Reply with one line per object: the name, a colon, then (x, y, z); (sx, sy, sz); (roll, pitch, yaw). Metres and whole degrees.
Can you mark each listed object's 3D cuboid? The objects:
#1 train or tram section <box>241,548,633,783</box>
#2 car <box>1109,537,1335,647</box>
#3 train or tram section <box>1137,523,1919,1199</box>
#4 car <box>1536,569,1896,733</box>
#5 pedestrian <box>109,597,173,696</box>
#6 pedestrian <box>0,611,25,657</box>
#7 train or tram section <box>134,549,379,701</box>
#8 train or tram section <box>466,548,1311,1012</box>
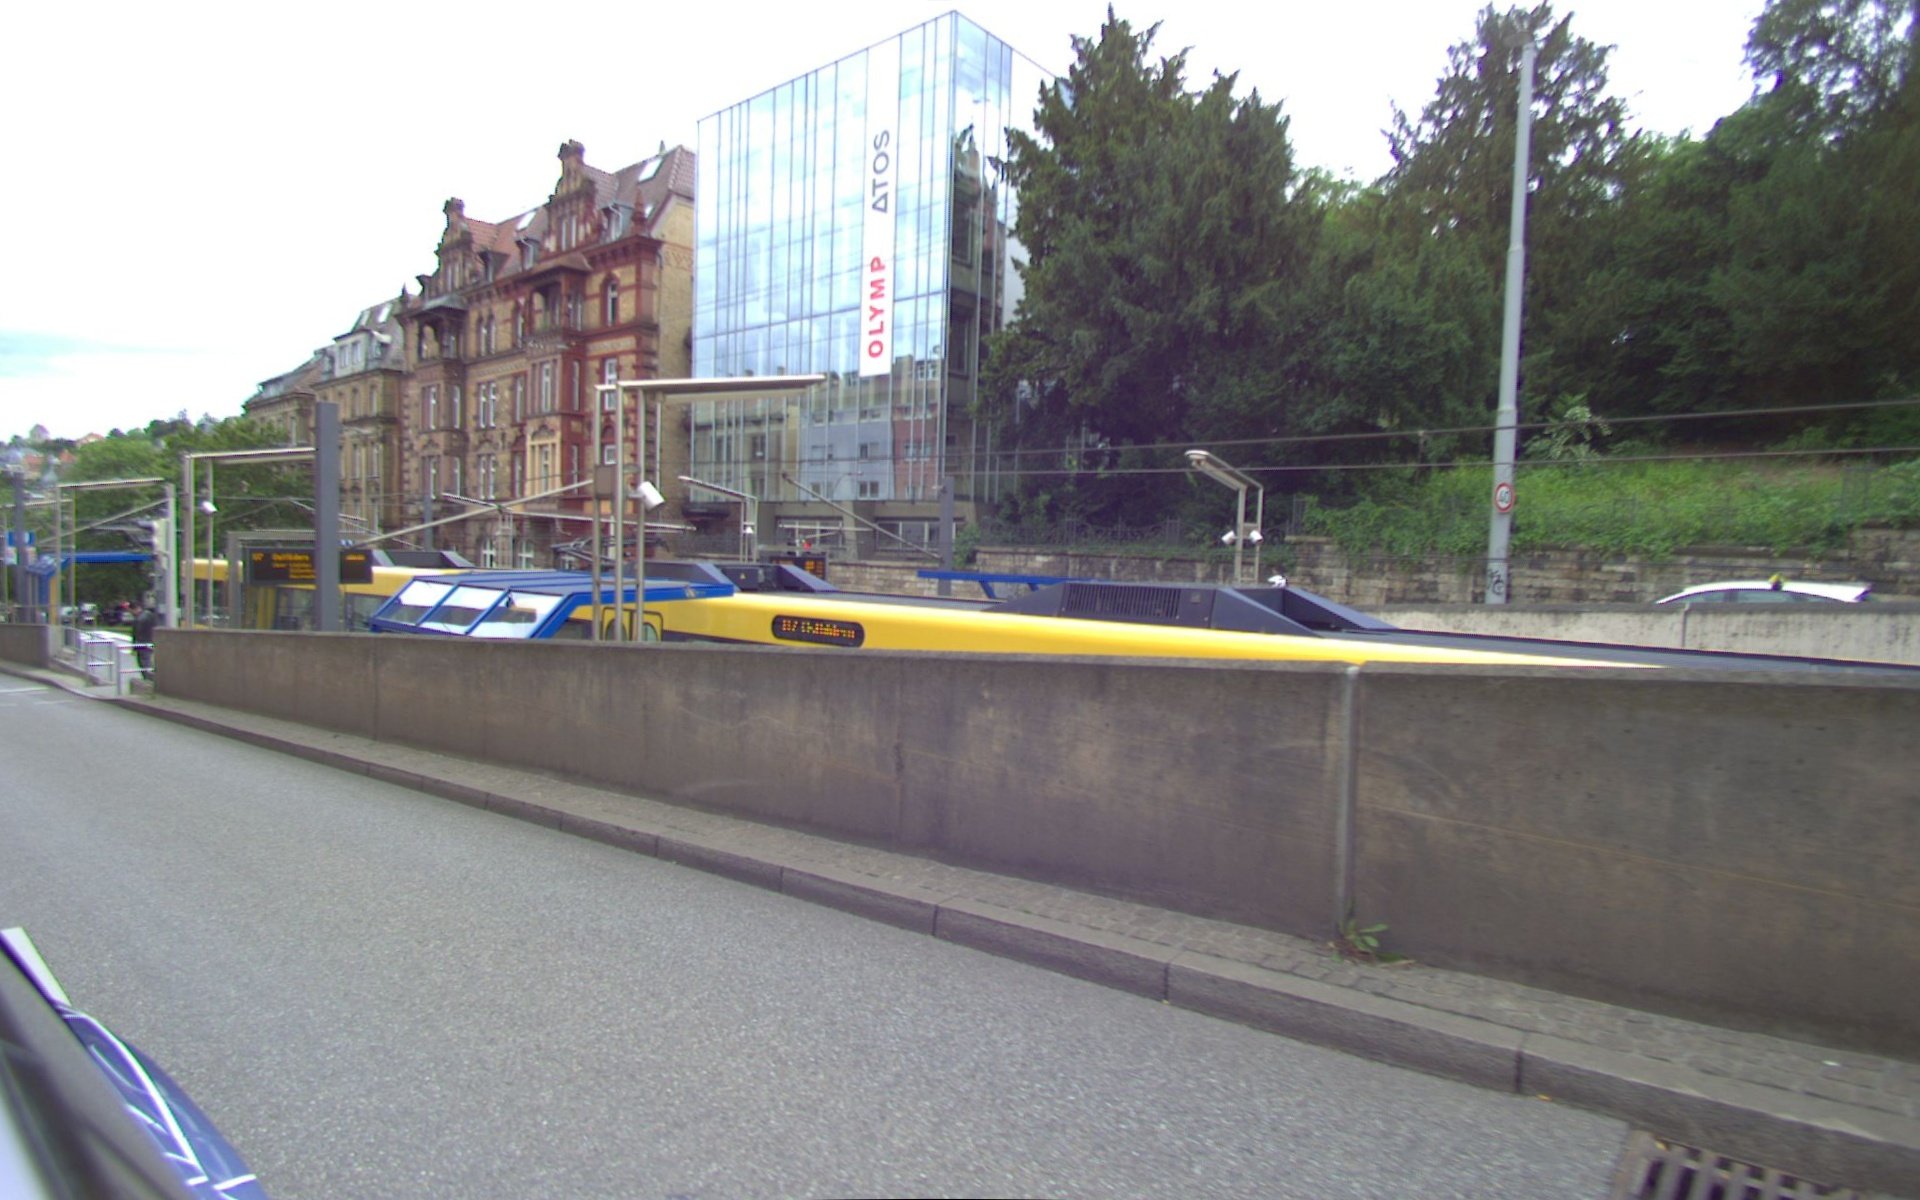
train or tram section: (-11.324, 0.801, 20.791); (12.215, 3.497, 2.918); (3, 3, 41)
car: (5.296, -0.119, 20.699); (3.998, 2.029, 1.973); (-2, -1, 41)
train or tram section: (7.195, 1.420, 4.548); (12.979, 3.535, 2.919); (1, 1, 41)
car: (10.870, 0.624, 14.795); (3.996, 2.028, 1.974); (0, 3, 39)
pedestrian: (-15.359, 0.850, 18.985); (0.803, 1.790, 0.807); (-1, 0, 44)
pedestrian: (-36.450, 1.301, 38.866); (0.658, 1.708, 0.616); (-1, 0, 31)
train or tram section: (-20.517, 0.391, 28.991); (12.395, 3.569, 2.918); (2, 2, 42)
train or tram section: (-2.141, 1.209, 12.781); (12.214, 3.509, 2.919); (2, 2, 41)
